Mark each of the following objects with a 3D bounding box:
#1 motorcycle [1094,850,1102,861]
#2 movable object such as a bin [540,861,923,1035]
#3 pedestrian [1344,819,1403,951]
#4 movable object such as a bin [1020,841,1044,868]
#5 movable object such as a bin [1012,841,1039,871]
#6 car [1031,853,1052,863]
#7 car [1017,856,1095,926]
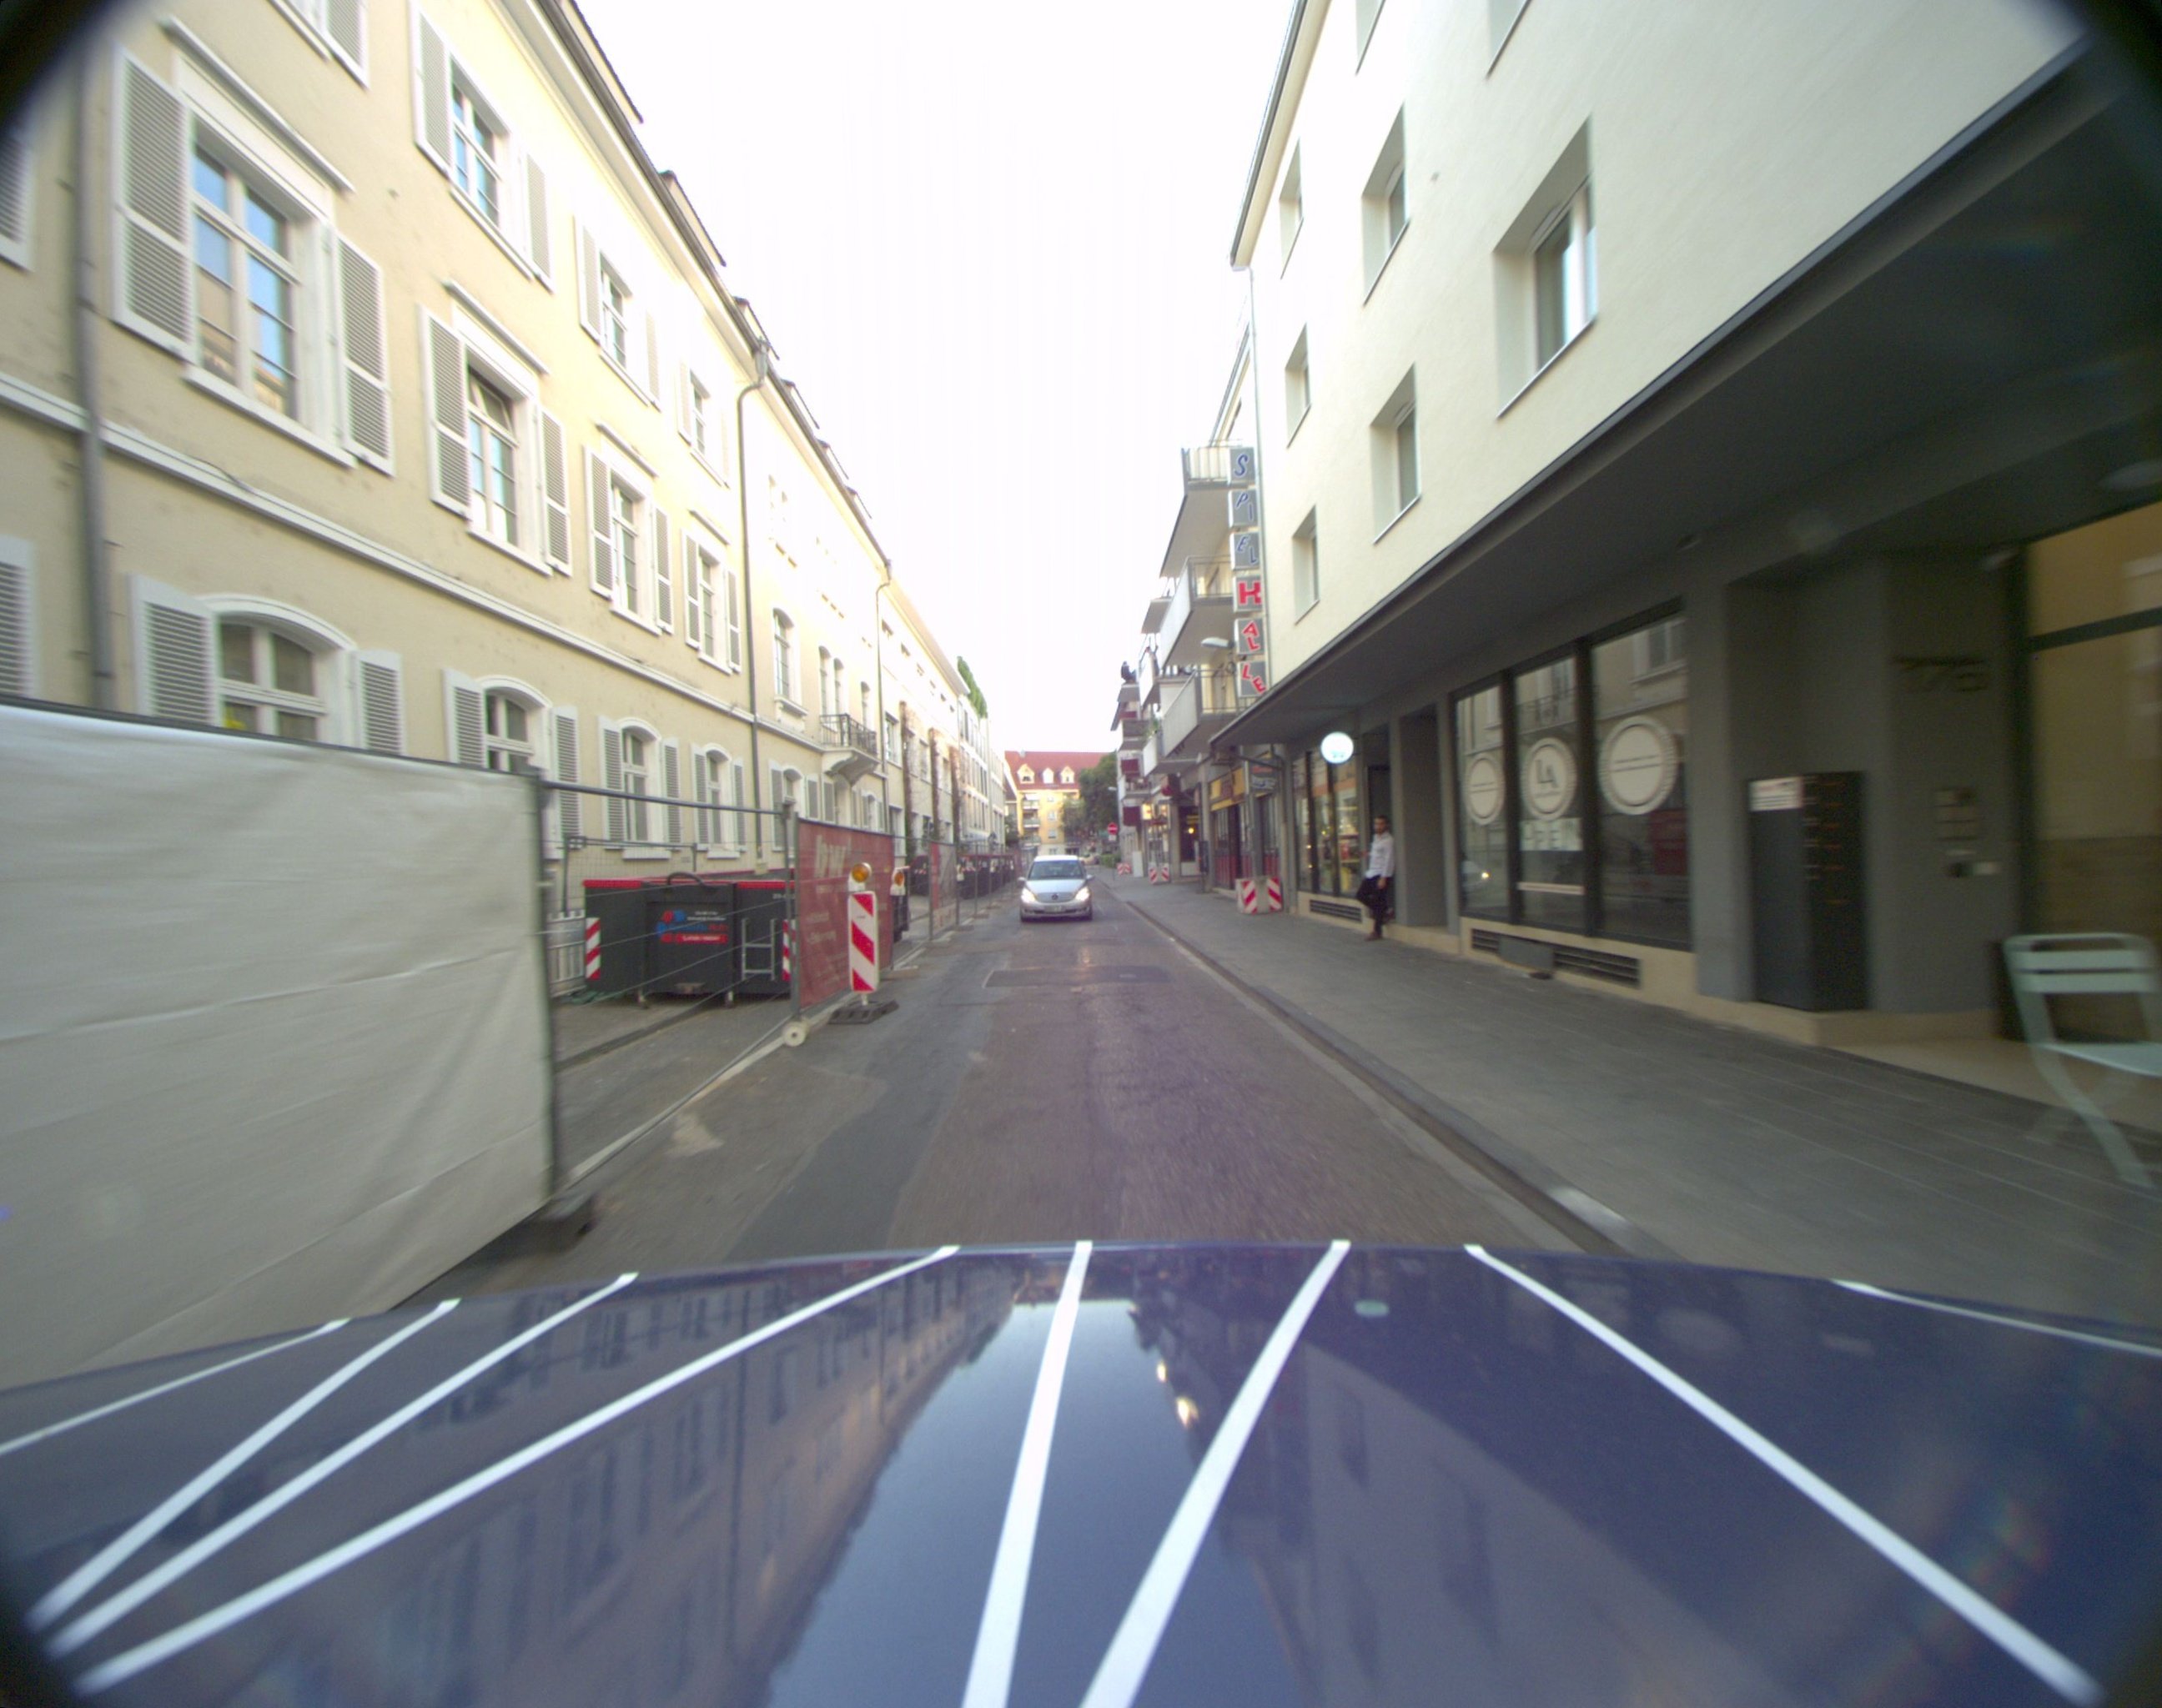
[{"bbox_3d":[2.382,0.207,104.519,0.858,1.345,1.960,-2,1,8],"label":"motorcycle"},{"bbox_3d":[-4.611,1.061,12.124,2.743,1.629,7.550,-3,1,-2],"label":"movable object such as a bin"},{"bbox_3d":[4.165,0.434,10.858,0.532,1.824,0.562,-2,1,-7],"label":"pedestrian"},{"bbox_3d":[-5.199,0.032,81.755,2.021,2.608,5.749,-5,1,-1],"label":"movable object such as a bin"},{"bbox_3d":[-5.218,0.209,71.864,2.021,2.608,5.750,-5,0,-1],"label":"movable object such as a bin"},{"bbox_3d":[-5.859,0.609,113.501,1.749,1.395,4.237,-2,2,-23],"label":"car"},{"bbox_3d":[-0.639,0.886,20.152,1.804,1.607,4.272,-2,0,-1],"label":"car"}]
